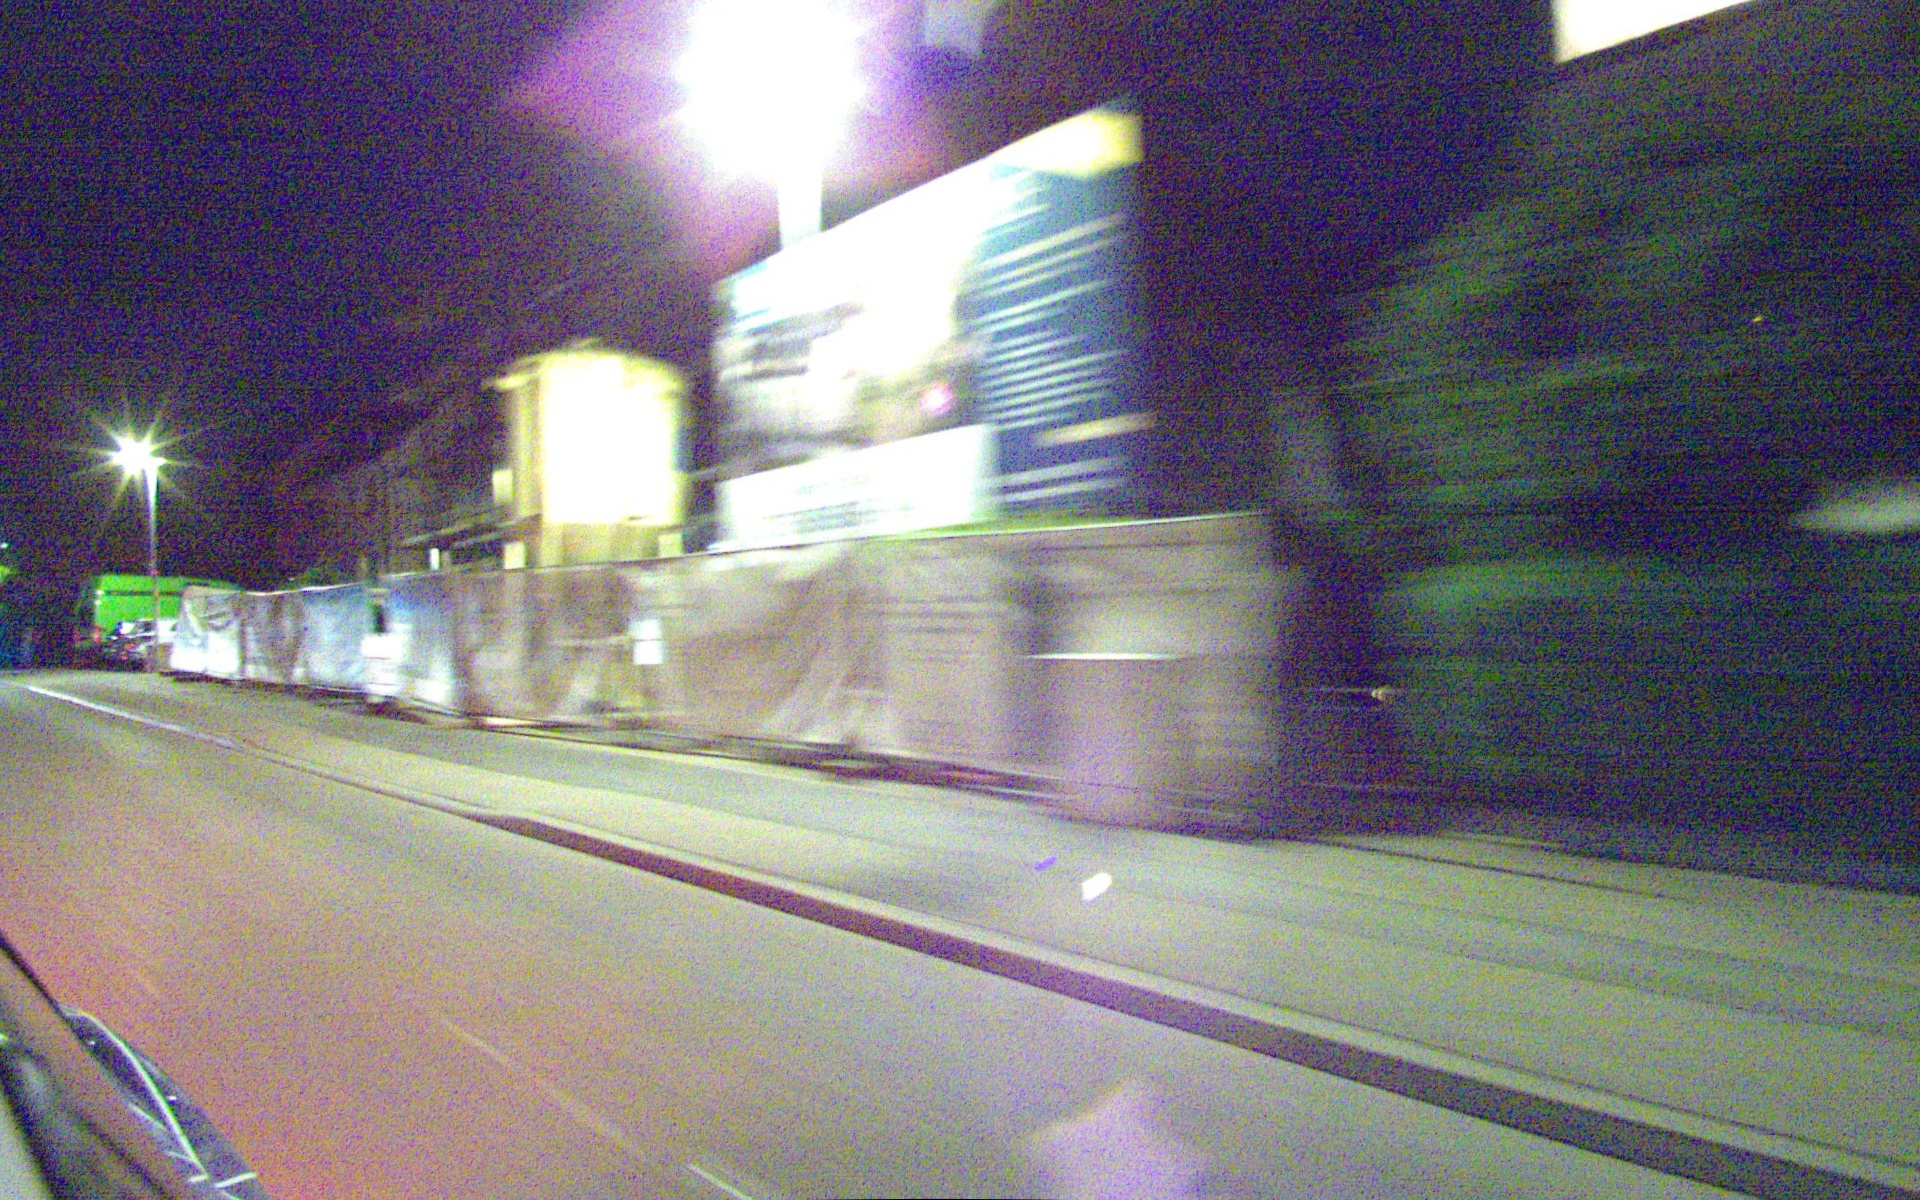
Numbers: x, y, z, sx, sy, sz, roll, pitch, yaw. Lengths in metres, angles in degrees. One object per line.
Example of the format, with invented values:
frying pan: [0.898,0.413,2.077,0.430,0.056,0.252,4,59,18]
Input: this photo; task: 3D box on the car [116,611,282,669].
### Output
car: [-23.422,1.209,31.245,1.926,1.567,3.772,-4,-2,40]

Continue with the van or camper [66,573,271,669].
van or camper: [-28.010,0.701,36.024,2.125,3.134,5.359,-1,-1,31]

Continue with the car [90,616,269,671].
car: [-25.488,1.372,33.170,2.065,1.625,4.370,-2,-1,42]
